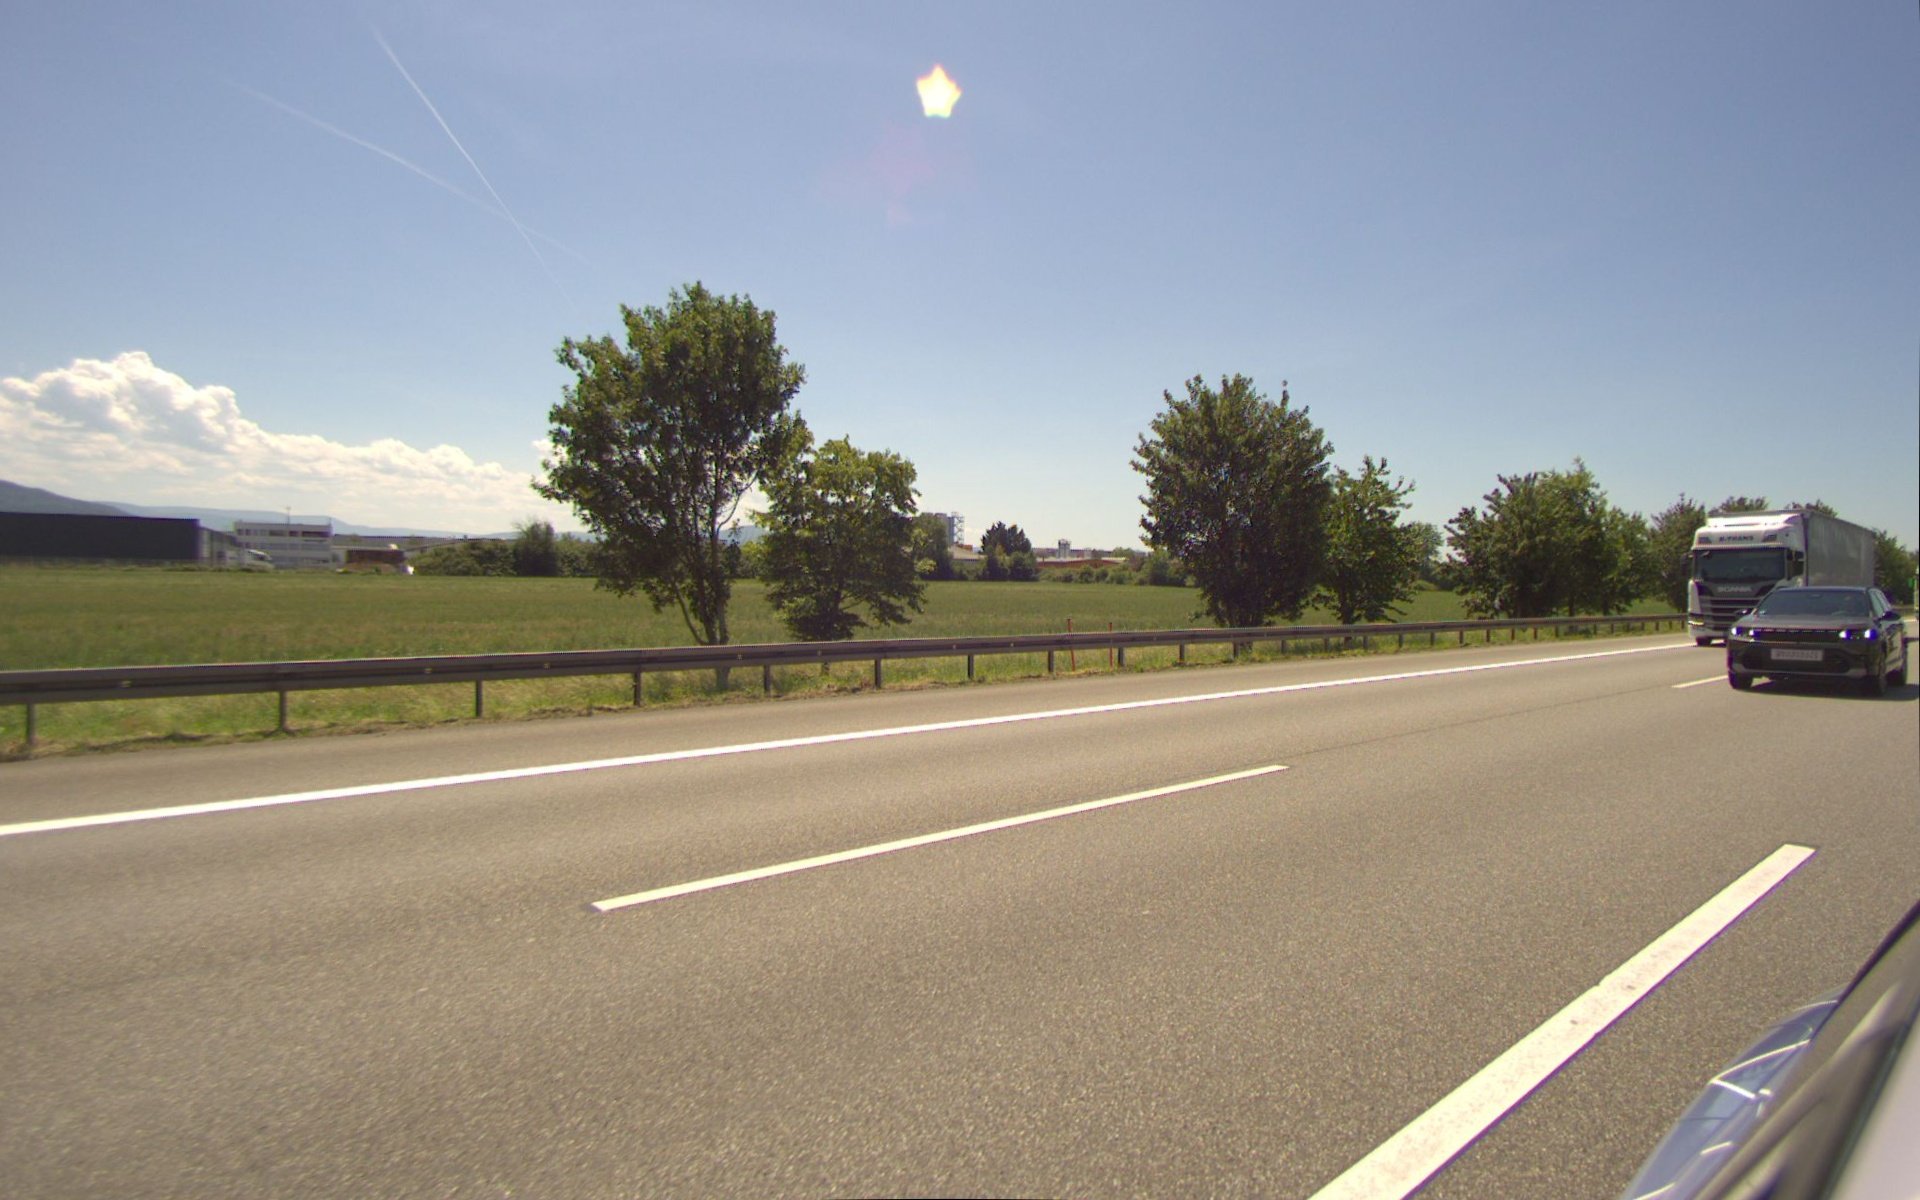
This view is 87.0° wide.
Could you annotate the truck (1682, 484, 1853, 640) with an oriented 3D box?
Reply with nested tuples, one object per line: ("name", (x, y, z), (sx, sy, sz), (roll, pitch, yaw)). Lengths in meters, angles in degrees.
("truck", (25.322, -1.078, 31.612), (7.065, 4.359, 2.815), (0, 0, -40))

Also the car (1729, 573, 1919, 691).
("car", (14.450, 0.441, 16.661), (4.662, 1.696, 1.871), (0, 0, -40))

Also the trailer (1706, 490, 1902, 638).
("trailer", (29.885, -1.116, 35.441), (14.001, 4.359, 2.815), (0, 0, -40))
